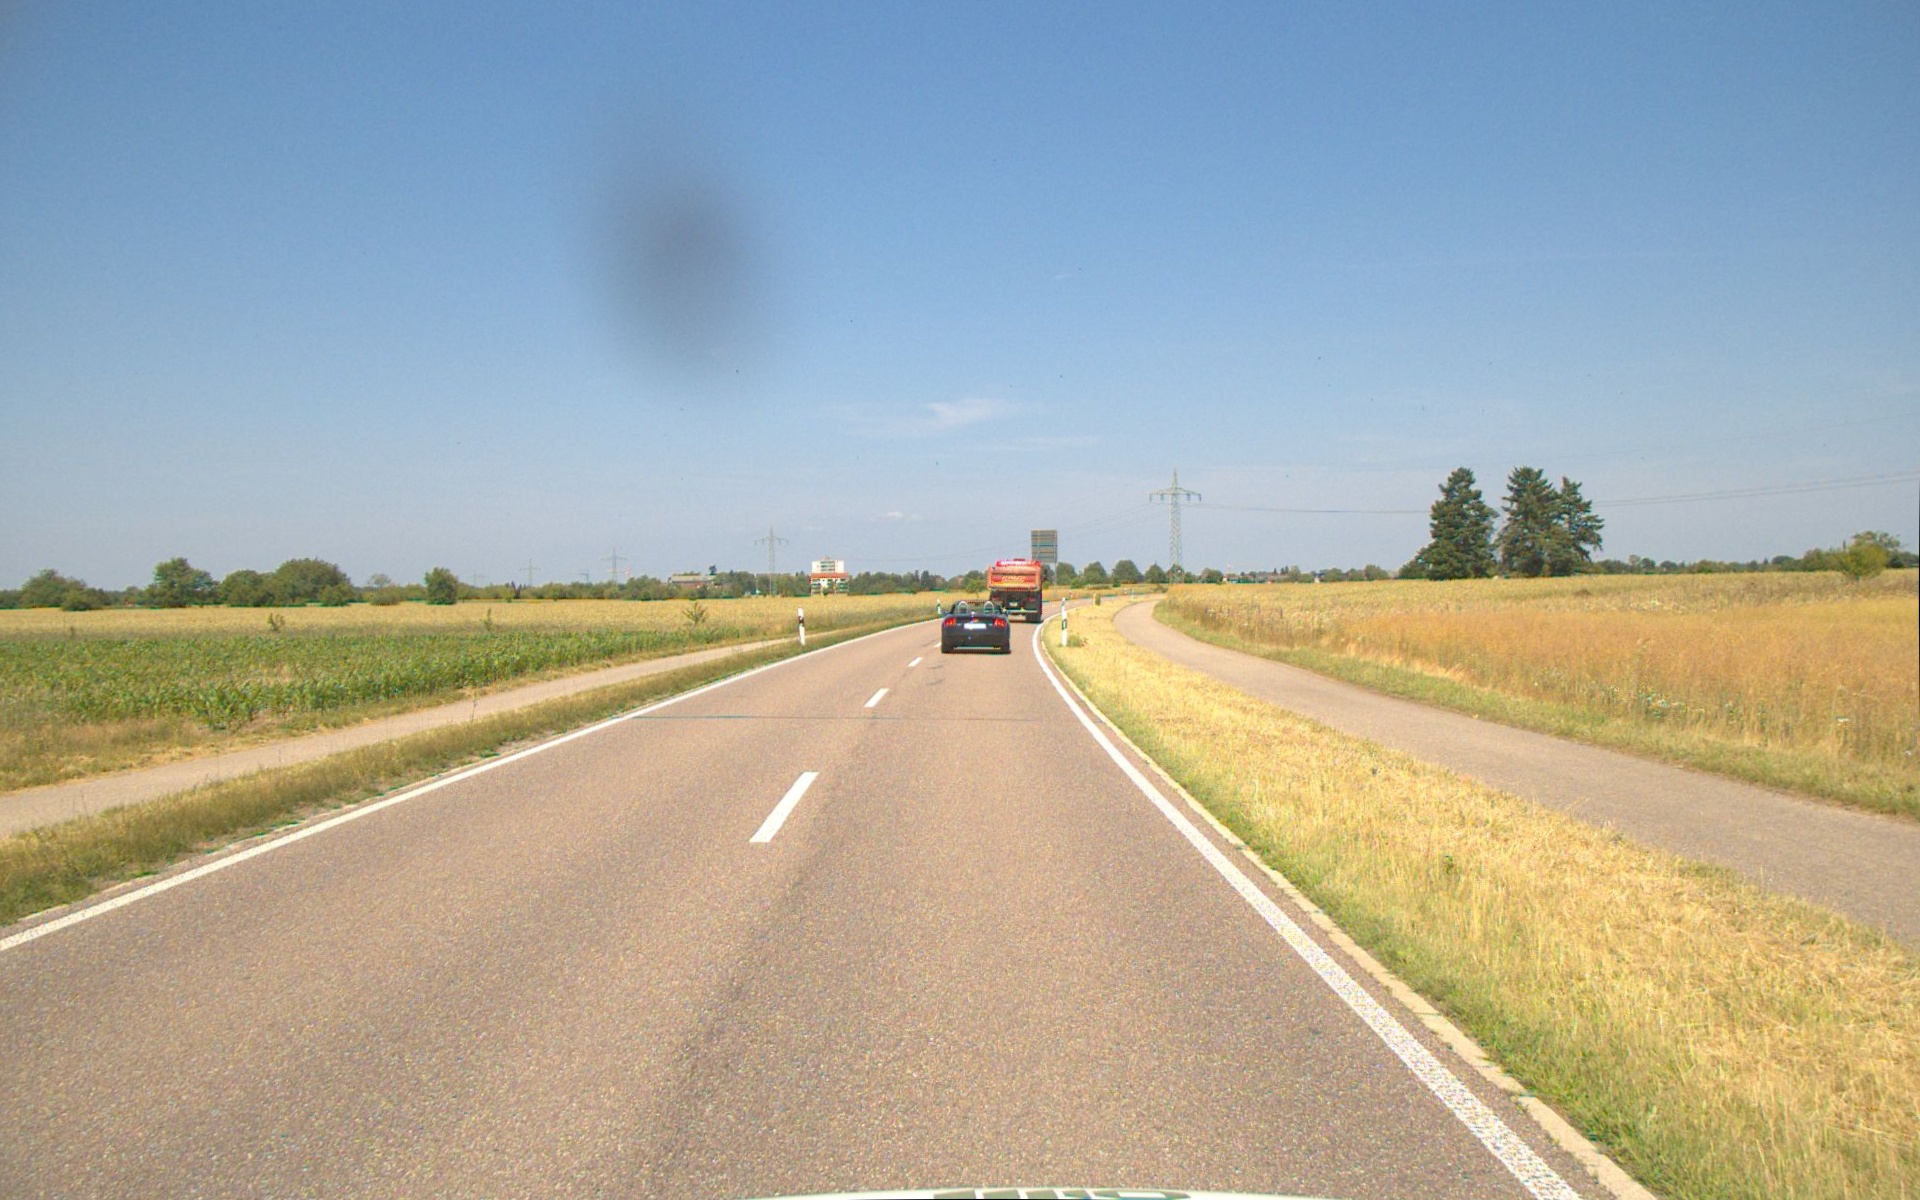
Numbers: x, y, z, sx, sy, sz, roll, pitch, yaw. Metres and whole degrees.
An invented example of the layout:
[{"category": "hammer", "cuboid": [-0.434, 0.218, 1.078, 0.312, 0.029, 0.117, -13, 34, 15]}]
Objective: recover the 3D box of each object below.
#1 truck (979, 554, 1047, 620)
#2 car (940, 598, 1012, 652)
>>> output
[{"category": "truck", "cuboid": [2.704, -0.605, 82.097, 2.876, 3.143, 7.201, 0, 0, 6]}, {"category": "car", "cuboid": [0.457, 0.609, 42.091, 1.707, 1.302, 4.001, 0, 0, 2]}]
